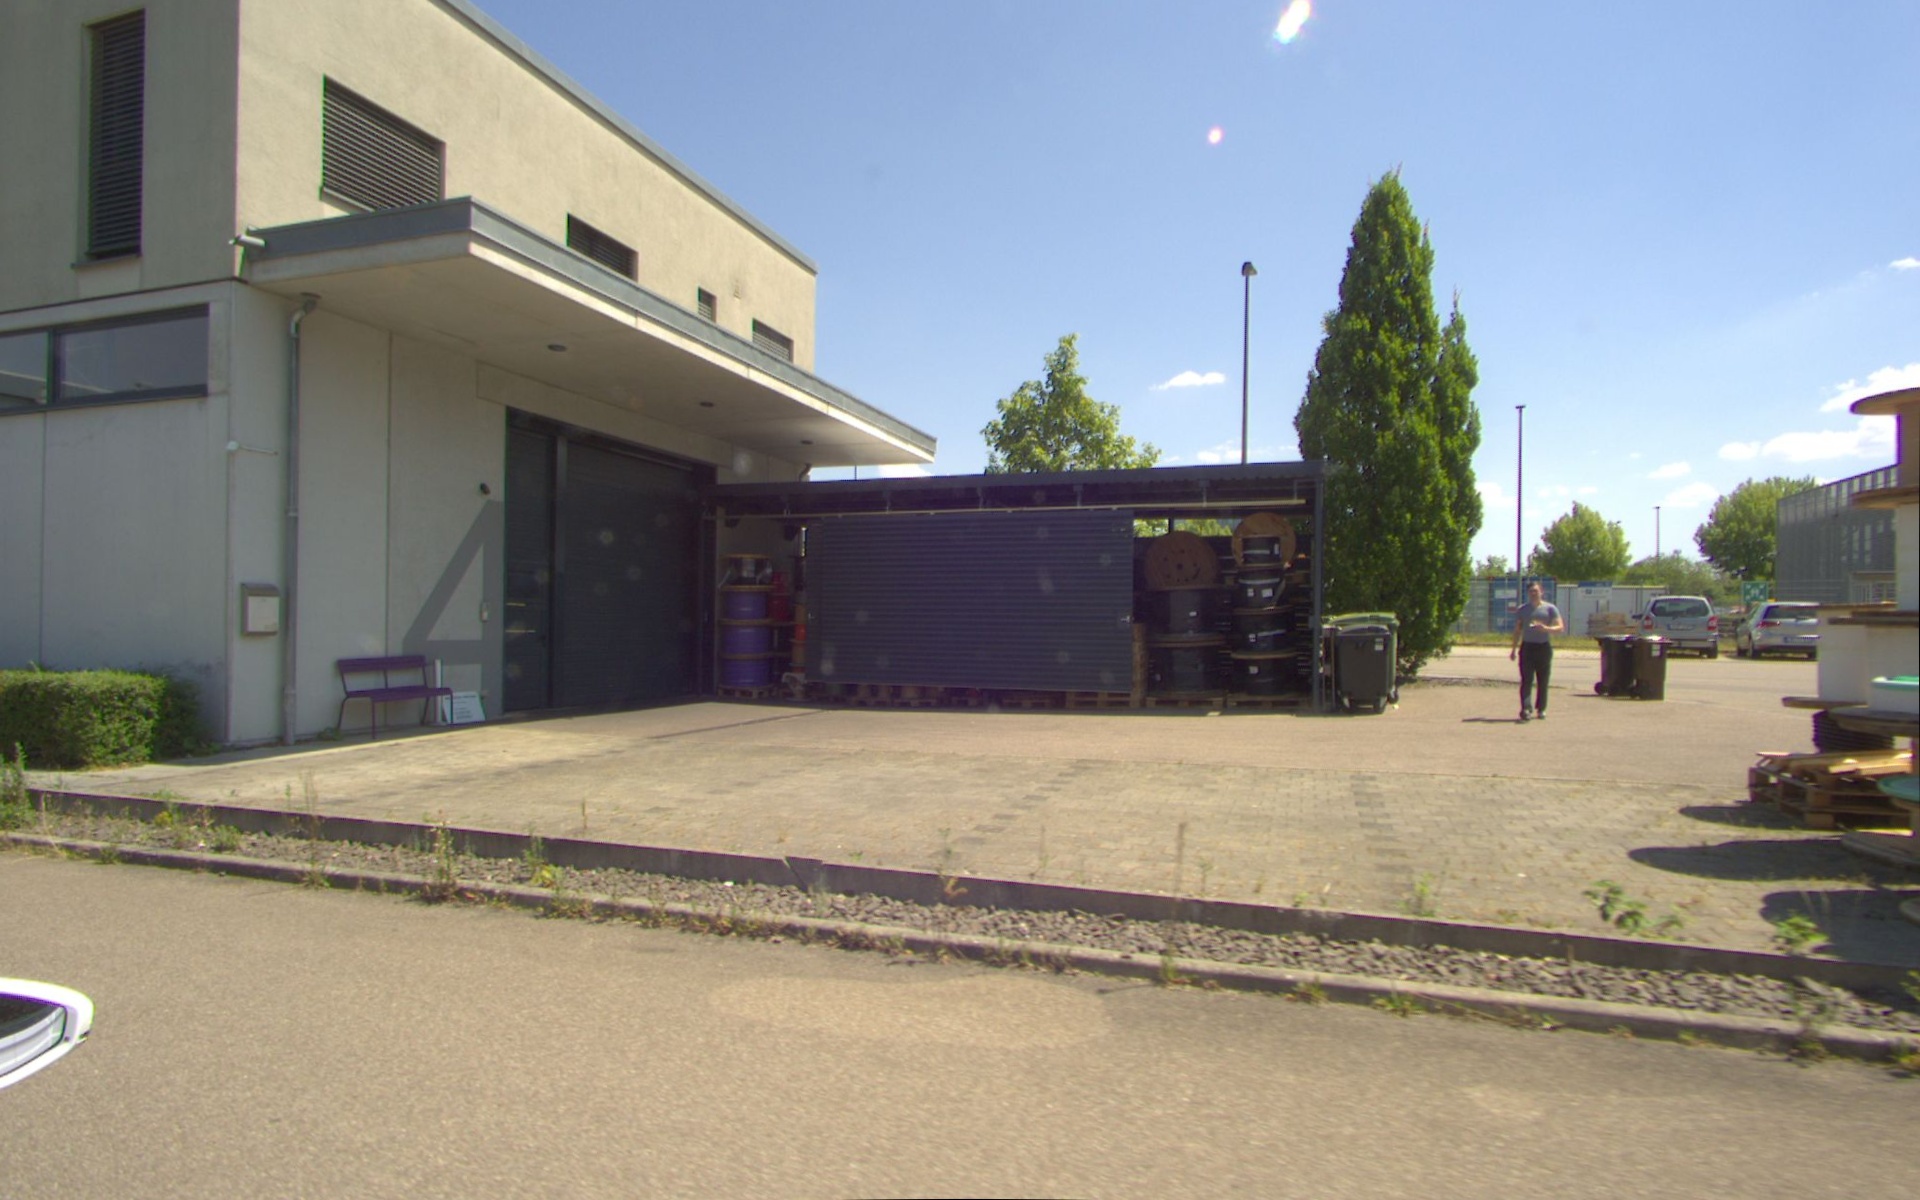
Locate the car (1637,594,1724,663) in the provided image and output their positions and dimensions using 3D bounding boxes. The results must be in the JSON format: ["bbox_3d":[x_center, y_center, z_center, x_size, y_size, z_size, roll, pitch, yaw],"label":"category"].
[{"bbox_3d":[19.671,0.732,27.334,1.827,1.728,3.973,0,0,36],"label":"car"}]

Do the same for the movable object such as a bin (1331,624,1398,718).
[{"bbox_3d":[5.704,0.980,14.105,0.789,1.266,0.873,-1,0,27],"label":"movable object such as a bin"}]

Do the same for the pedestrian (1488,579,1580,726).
[{"bbox_3d":[7.321,0.650,12.772,0.760,1.792,0.802,0,0,-41],"label":"pedestrian"}]

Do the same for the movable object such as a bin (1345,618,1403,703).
[{"bbox_3d":[6.636,0.950,16.029,0.789,1.315,0.807,-1,0,27],"label":"movable object such as a bin"}]

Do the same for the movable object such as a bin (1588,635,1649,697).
[{"bbox_3d":[10.216,1.016,15.551,0.537,0.929,0.585,-1,0,-6],"label":"movable object such as a bin"}]

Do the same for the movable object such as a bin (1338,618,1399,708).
[{"bbox_3d":[6.239,0.940,15.267,0.789,1.315,0.753,-1,0,27],"label":"movable object such as a bin"}]

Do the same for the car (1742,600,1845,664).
[{"bbox_3d":[21.522,0.785,25.994,1.827,1.516,3.973,0,0,36],"label":"car"}]

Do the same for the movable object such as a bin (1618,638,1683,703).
[{"bbox_3d":[10.265,1.039,14.902,0.537,0.929,0.585,-1,0,-6],"label":"movable object such as a bin"}]
